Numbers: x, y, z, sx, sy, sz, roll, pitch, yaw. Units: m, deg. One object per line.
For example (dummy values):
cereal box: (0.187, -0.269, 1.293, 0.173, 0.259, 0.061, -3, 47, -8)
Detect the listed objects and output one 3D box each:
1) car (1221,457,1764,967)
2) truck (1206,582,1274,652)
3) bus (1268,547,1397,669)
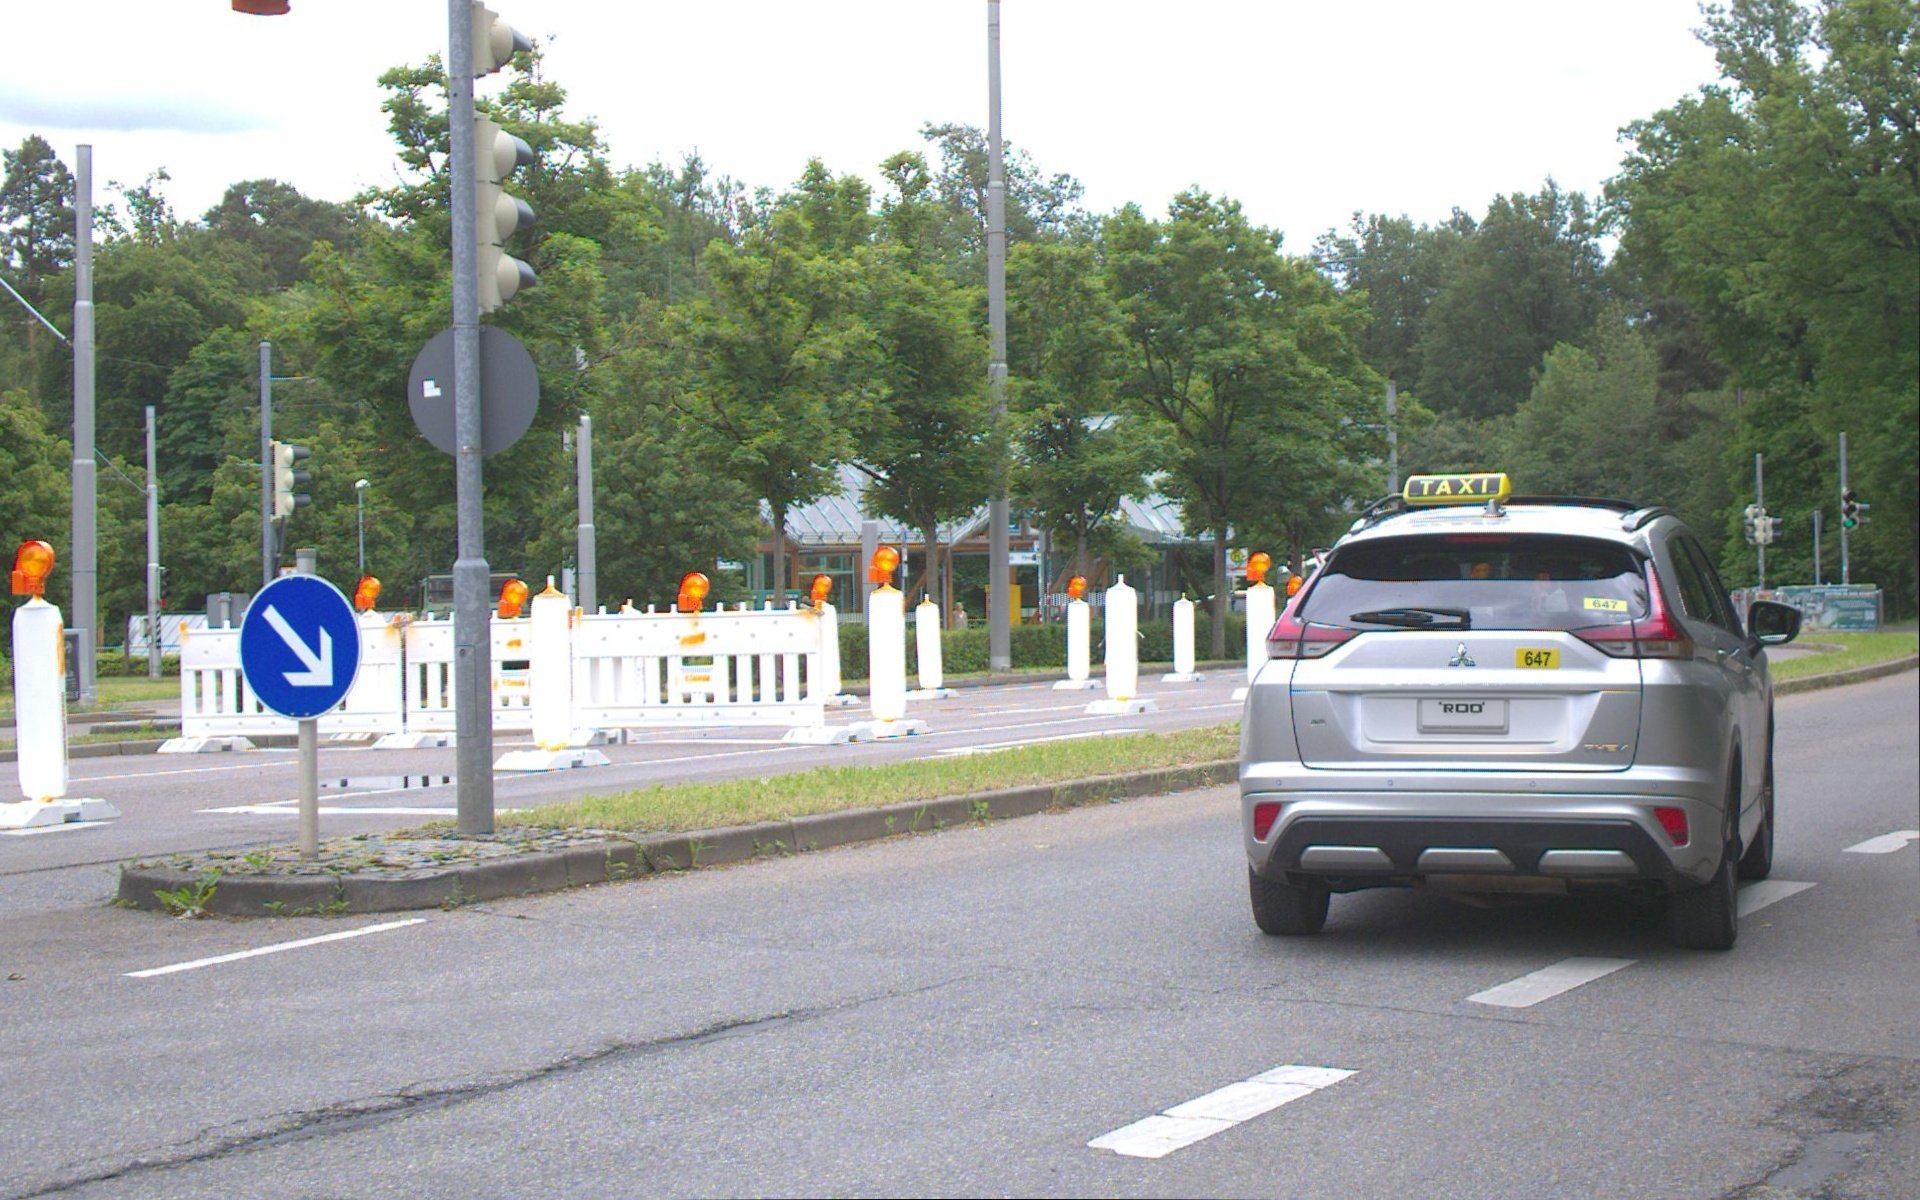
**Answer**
car: (2.265, 0.405, 13.801, 1.775, 1.742, 3.778, 0, -1, 15)
truck: (14.104, 0.912, 173.814, 2.483, 3.276, 8.519, -2, -2, -1)
bus: (11.698, 0.233, 108.999, 2.821, 3.591, 12.803, -1, 0, 1)
